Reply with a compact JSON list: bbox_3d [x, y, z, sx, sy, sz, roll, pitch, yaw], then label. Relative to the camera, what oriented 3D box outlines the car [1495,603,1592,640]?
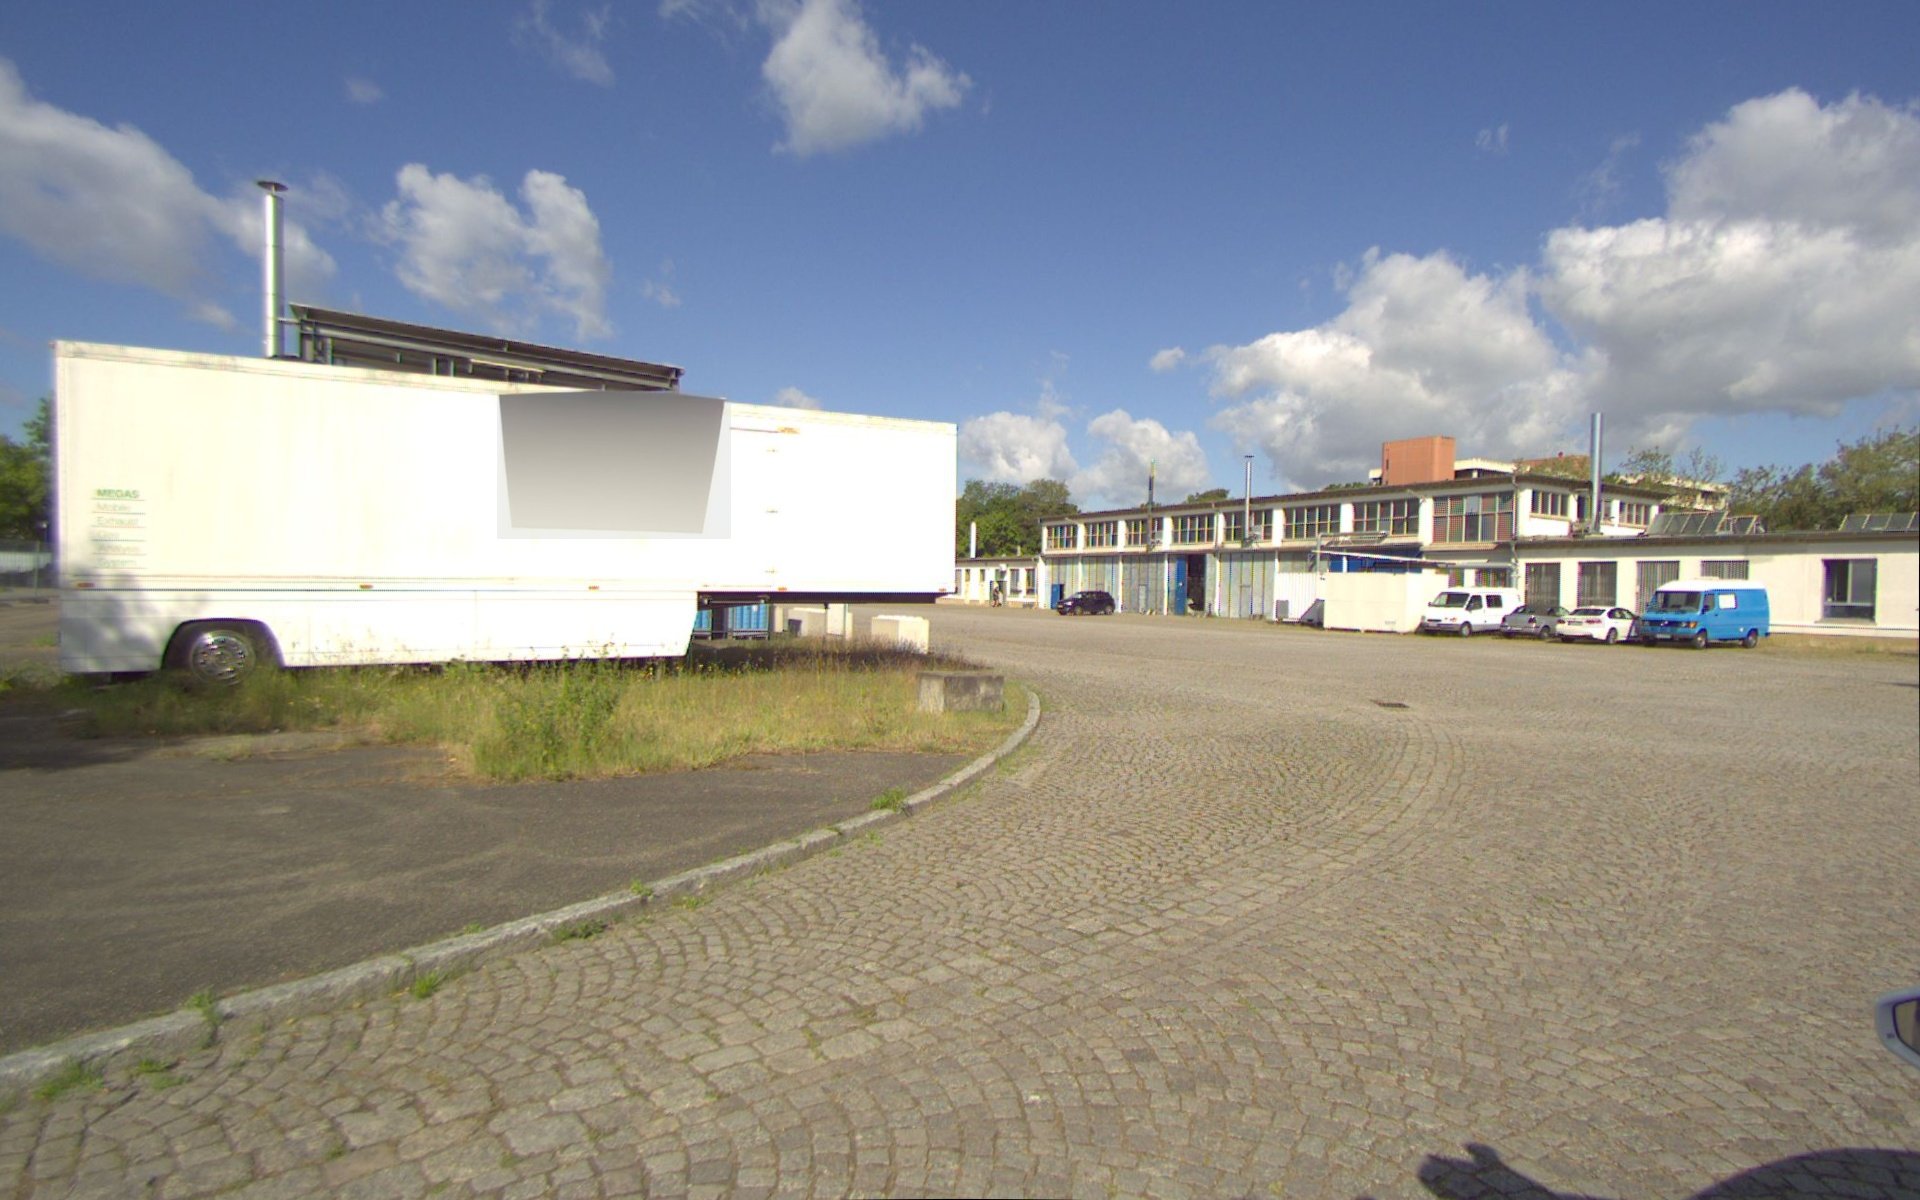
[{"bbox_3d":[24.019,0.863,41.363,3.783,1.417,1.680,1,1,-28],"label":"car"}]

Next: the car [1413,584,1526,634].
[{"bbox_3d":[22.139,0.393,43.623,4.743,2.109,1.996,1,1,-27],"label":"car"}]

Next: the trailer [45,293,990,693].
[{"bbox_3d":[-4.947,-1.002,13.727,10.750,3.963,2.761,1,1,-28],"label":"trailer"}]

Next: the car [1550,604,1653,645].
[{"bbox_3d":[24.556,0.896,38.449,3.691,1.424,1.725,-1,1,-28],"label":"car"}]

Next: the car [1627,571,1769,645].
[{"bbox_3d":[26.828,0.299,36.489,5.171,2.516,2.075,1,1,-27],"label":"car"}]

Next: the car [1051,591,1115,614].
[{"bbox_3d":[8.243,0.168,67.219,4.030,1.489,1.726,0,1,-32],"label":"car"}]
